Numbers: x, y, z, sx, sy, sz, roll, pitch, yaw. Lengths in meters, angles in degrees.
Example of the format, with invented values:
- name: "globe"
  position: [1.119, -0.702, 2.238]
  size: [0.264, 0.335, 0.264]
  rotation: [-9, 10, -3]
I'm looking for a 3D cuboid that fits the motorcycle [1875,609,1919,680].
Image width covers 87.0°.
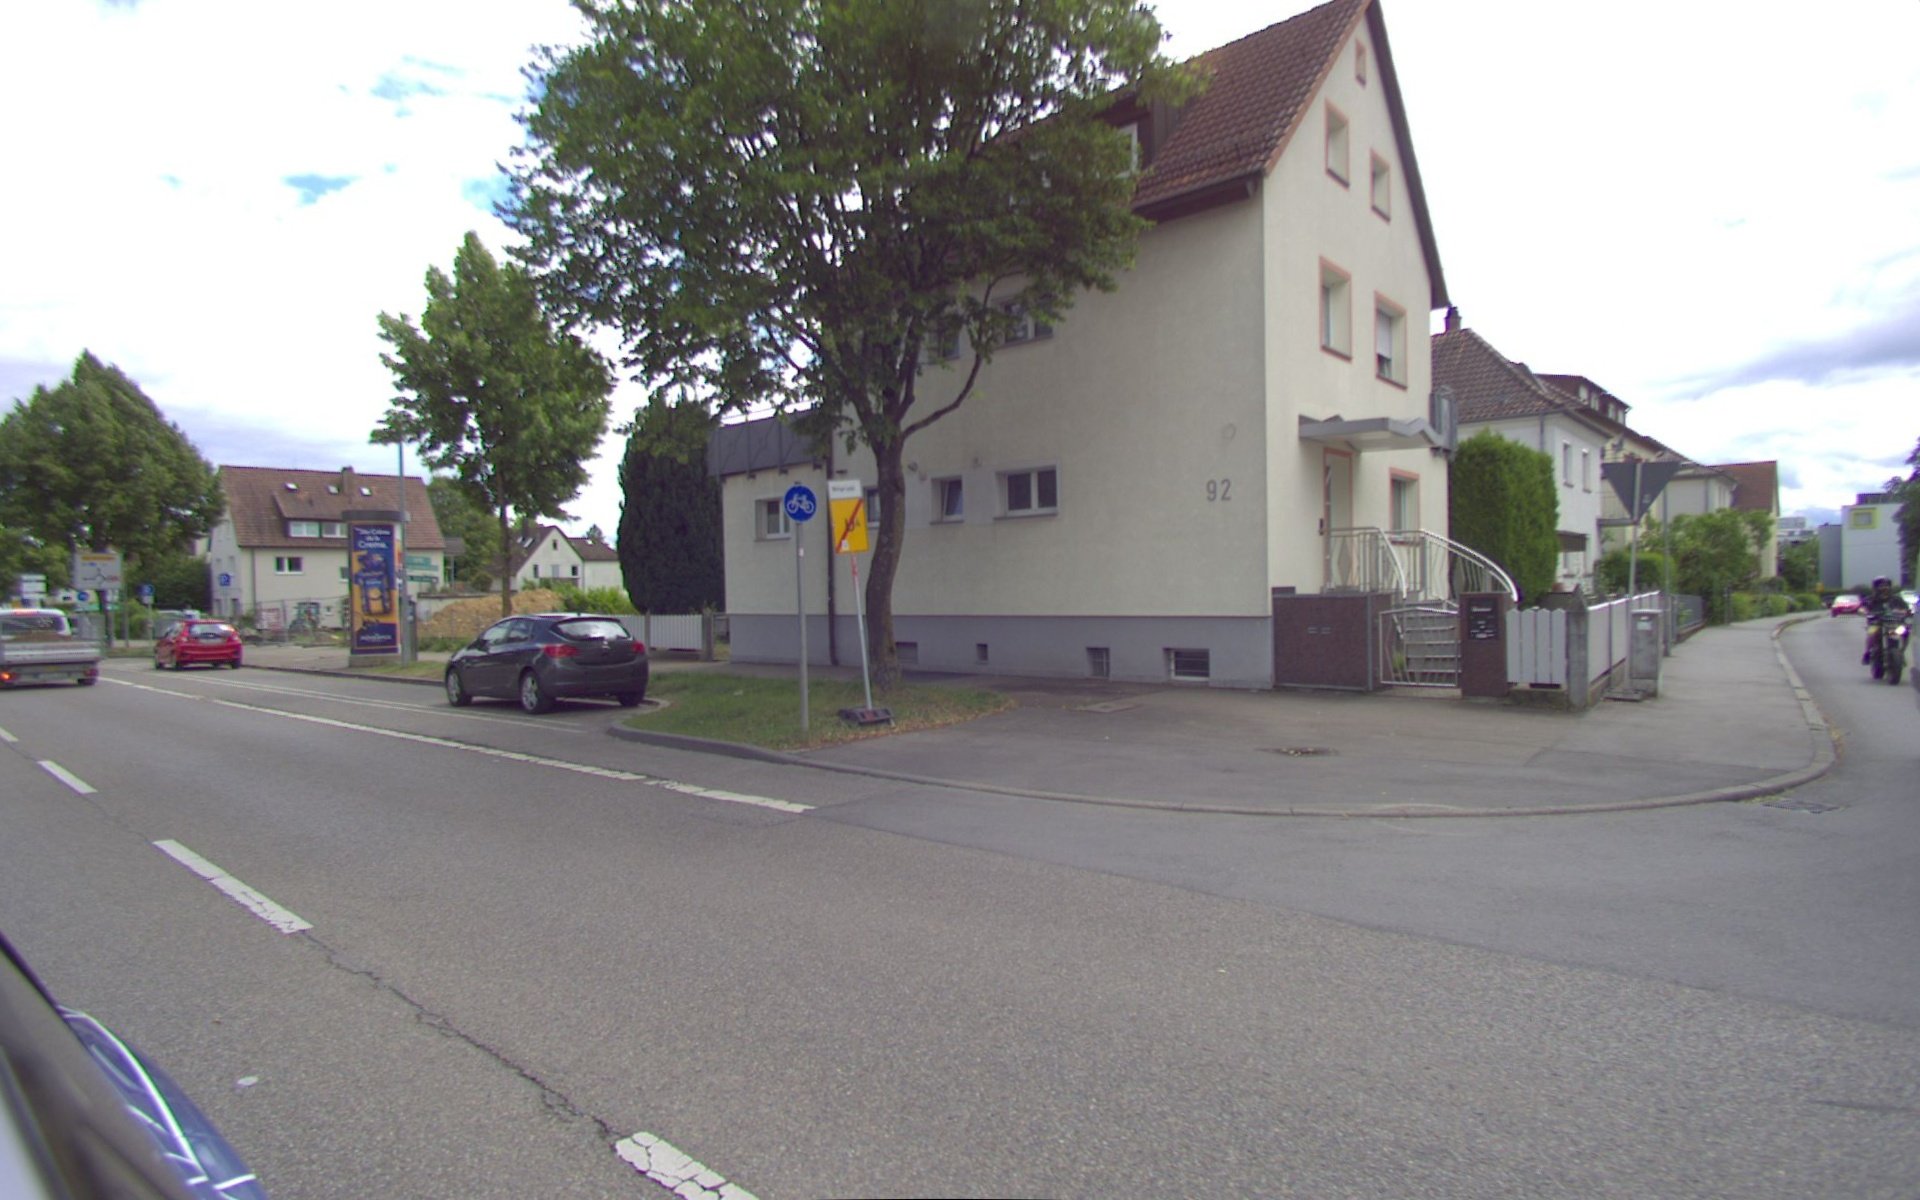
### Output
- name: "motorcycle"
  position: [15.027, 0.684, 16.160]
  size: [0.480, 1.039, 2.092]
  rotation: [-1, 0, 39]

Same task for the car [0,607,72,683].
- name: "car"
  position: [-25.238, 1.174, 26.819]
  size: [4.816, 1.844, 1.946]
  rotation: [-2, 0, 41]

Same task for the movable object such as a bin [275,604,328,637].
- name: "movable object such as a bin"
  position: [-45.741, 1.439, 70.276]
  size: [4.358, 2.204, 1.877]
  rotation: [-2, 0, 39]

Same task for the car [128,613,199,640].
- name: "car"
  position: [-58.936, 1.939, 74.921]
  size: [1.855, 1.674, 3.878]
  rotation: [0, 2, 41]

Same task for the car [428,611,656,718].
- name: "car"
  position: [-6.801, 0.956, 16.234]
  size: [4.300, 1.480, 1.712]
  rotation: [-2, -1, 42]

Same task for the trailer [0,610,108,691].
- name: "trailer"
  position: [-21.679, 1.141, 23.704]
  size: [4.686, 1.689, 1.918]
  rotation: [-2, 0, 41]

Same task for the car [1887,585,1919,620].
- name: "car"
  position: [45.758, 0.082, 48.476]
  size: [1.873, 1.608, 3.713]
  rotation: [-2, -1, 44]

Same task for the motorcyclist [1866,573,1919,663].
- name: "motorcyclist"
  position: [14.952, 0.275, 16.068]
  size: [0.753, 1.375, 1.095]
  rotation: [-1, -1, 39]

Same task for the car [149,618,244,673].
- name: "car"
  position: [-23.615, 1.380, 31.253]
  size: [4.132, 1.553, 1.667]
  rotation: [-2, -1, 43]

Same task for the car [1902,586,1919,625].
- name: "car"
  position: [39.020, 0.182, 40.556]
  size: [1.774, 1.547, 3.713]
  rotation: [-2, -1, 44]

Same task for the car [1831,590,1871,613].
- name: "car"
  position: [60.984, 0.083, 69.248]
  size: [1.873, 1.488, 3.713]
  rotation: [-2, -1, 44]

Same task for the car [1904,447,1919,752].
- name: "car"
  position: [7.303, 0.033, 5.612]
  size: [2.217, 2.614, 7.221]
  rotation: [-2, 0, 37]

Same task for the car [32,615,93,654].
- name: "car"
  position: [-43.226, 1.646, 48.700]
  size: [4.551, 1.784, 1.751]
  rotation: [-2, 0, 43]
